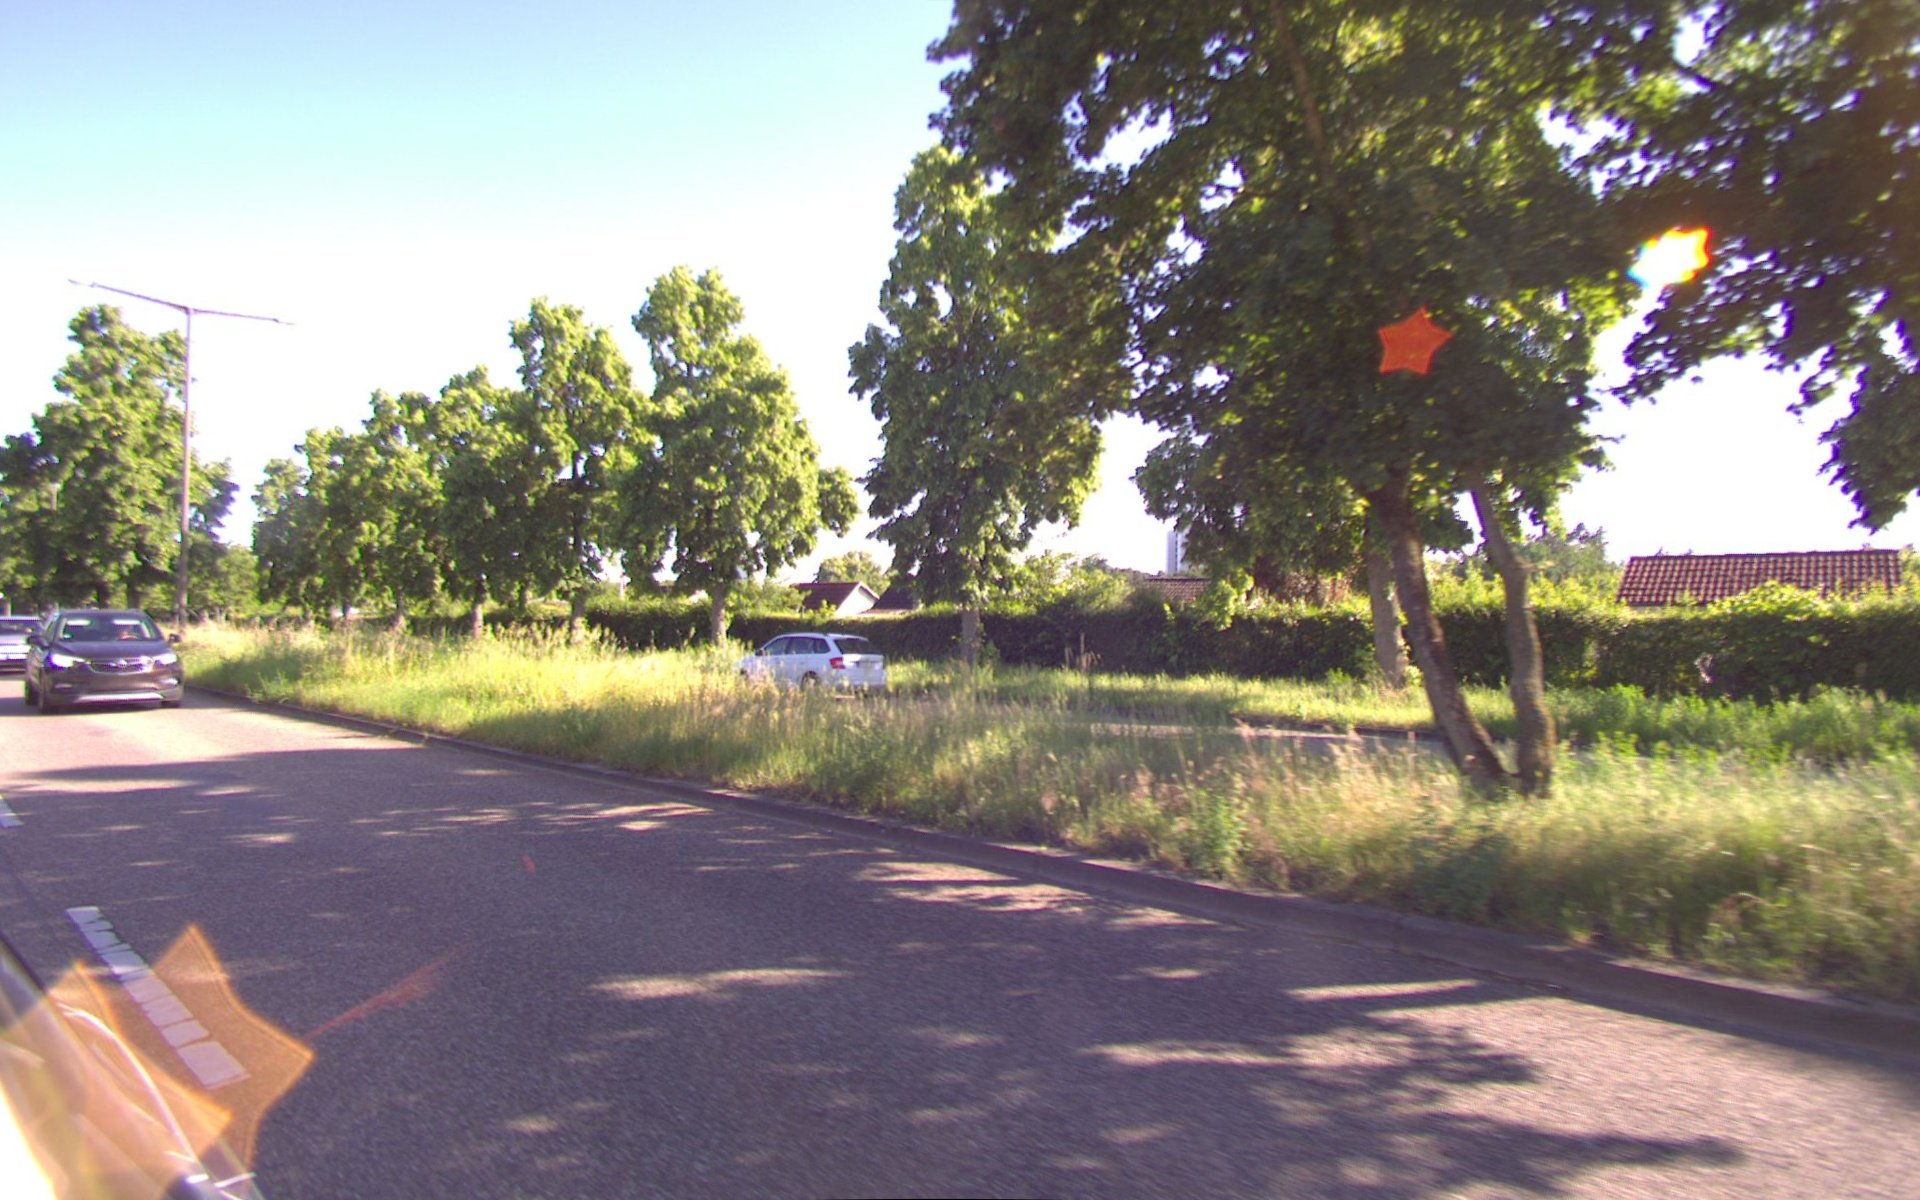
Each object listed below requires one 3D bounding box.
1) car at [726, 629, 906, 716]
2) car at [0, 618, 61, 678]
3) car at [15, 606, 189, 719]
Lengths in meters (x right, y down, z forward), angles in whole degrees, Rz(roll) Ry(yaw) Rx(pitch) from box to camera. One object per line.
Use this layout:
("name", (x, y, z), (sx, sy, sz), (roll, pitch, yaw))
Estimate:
("car", (-3.286, 1.530, 22.634), (4.001, 1.669, 1.917), (-1, 0, 44))
("car", (-26.532, 1.289, 28.175), (4.646, 1.574, 1.799), (-1, -1, 43))
("car", (-14.516, 0.946, 17.036), (4.516, 1.627, 1.786), (0, -1, 44))
